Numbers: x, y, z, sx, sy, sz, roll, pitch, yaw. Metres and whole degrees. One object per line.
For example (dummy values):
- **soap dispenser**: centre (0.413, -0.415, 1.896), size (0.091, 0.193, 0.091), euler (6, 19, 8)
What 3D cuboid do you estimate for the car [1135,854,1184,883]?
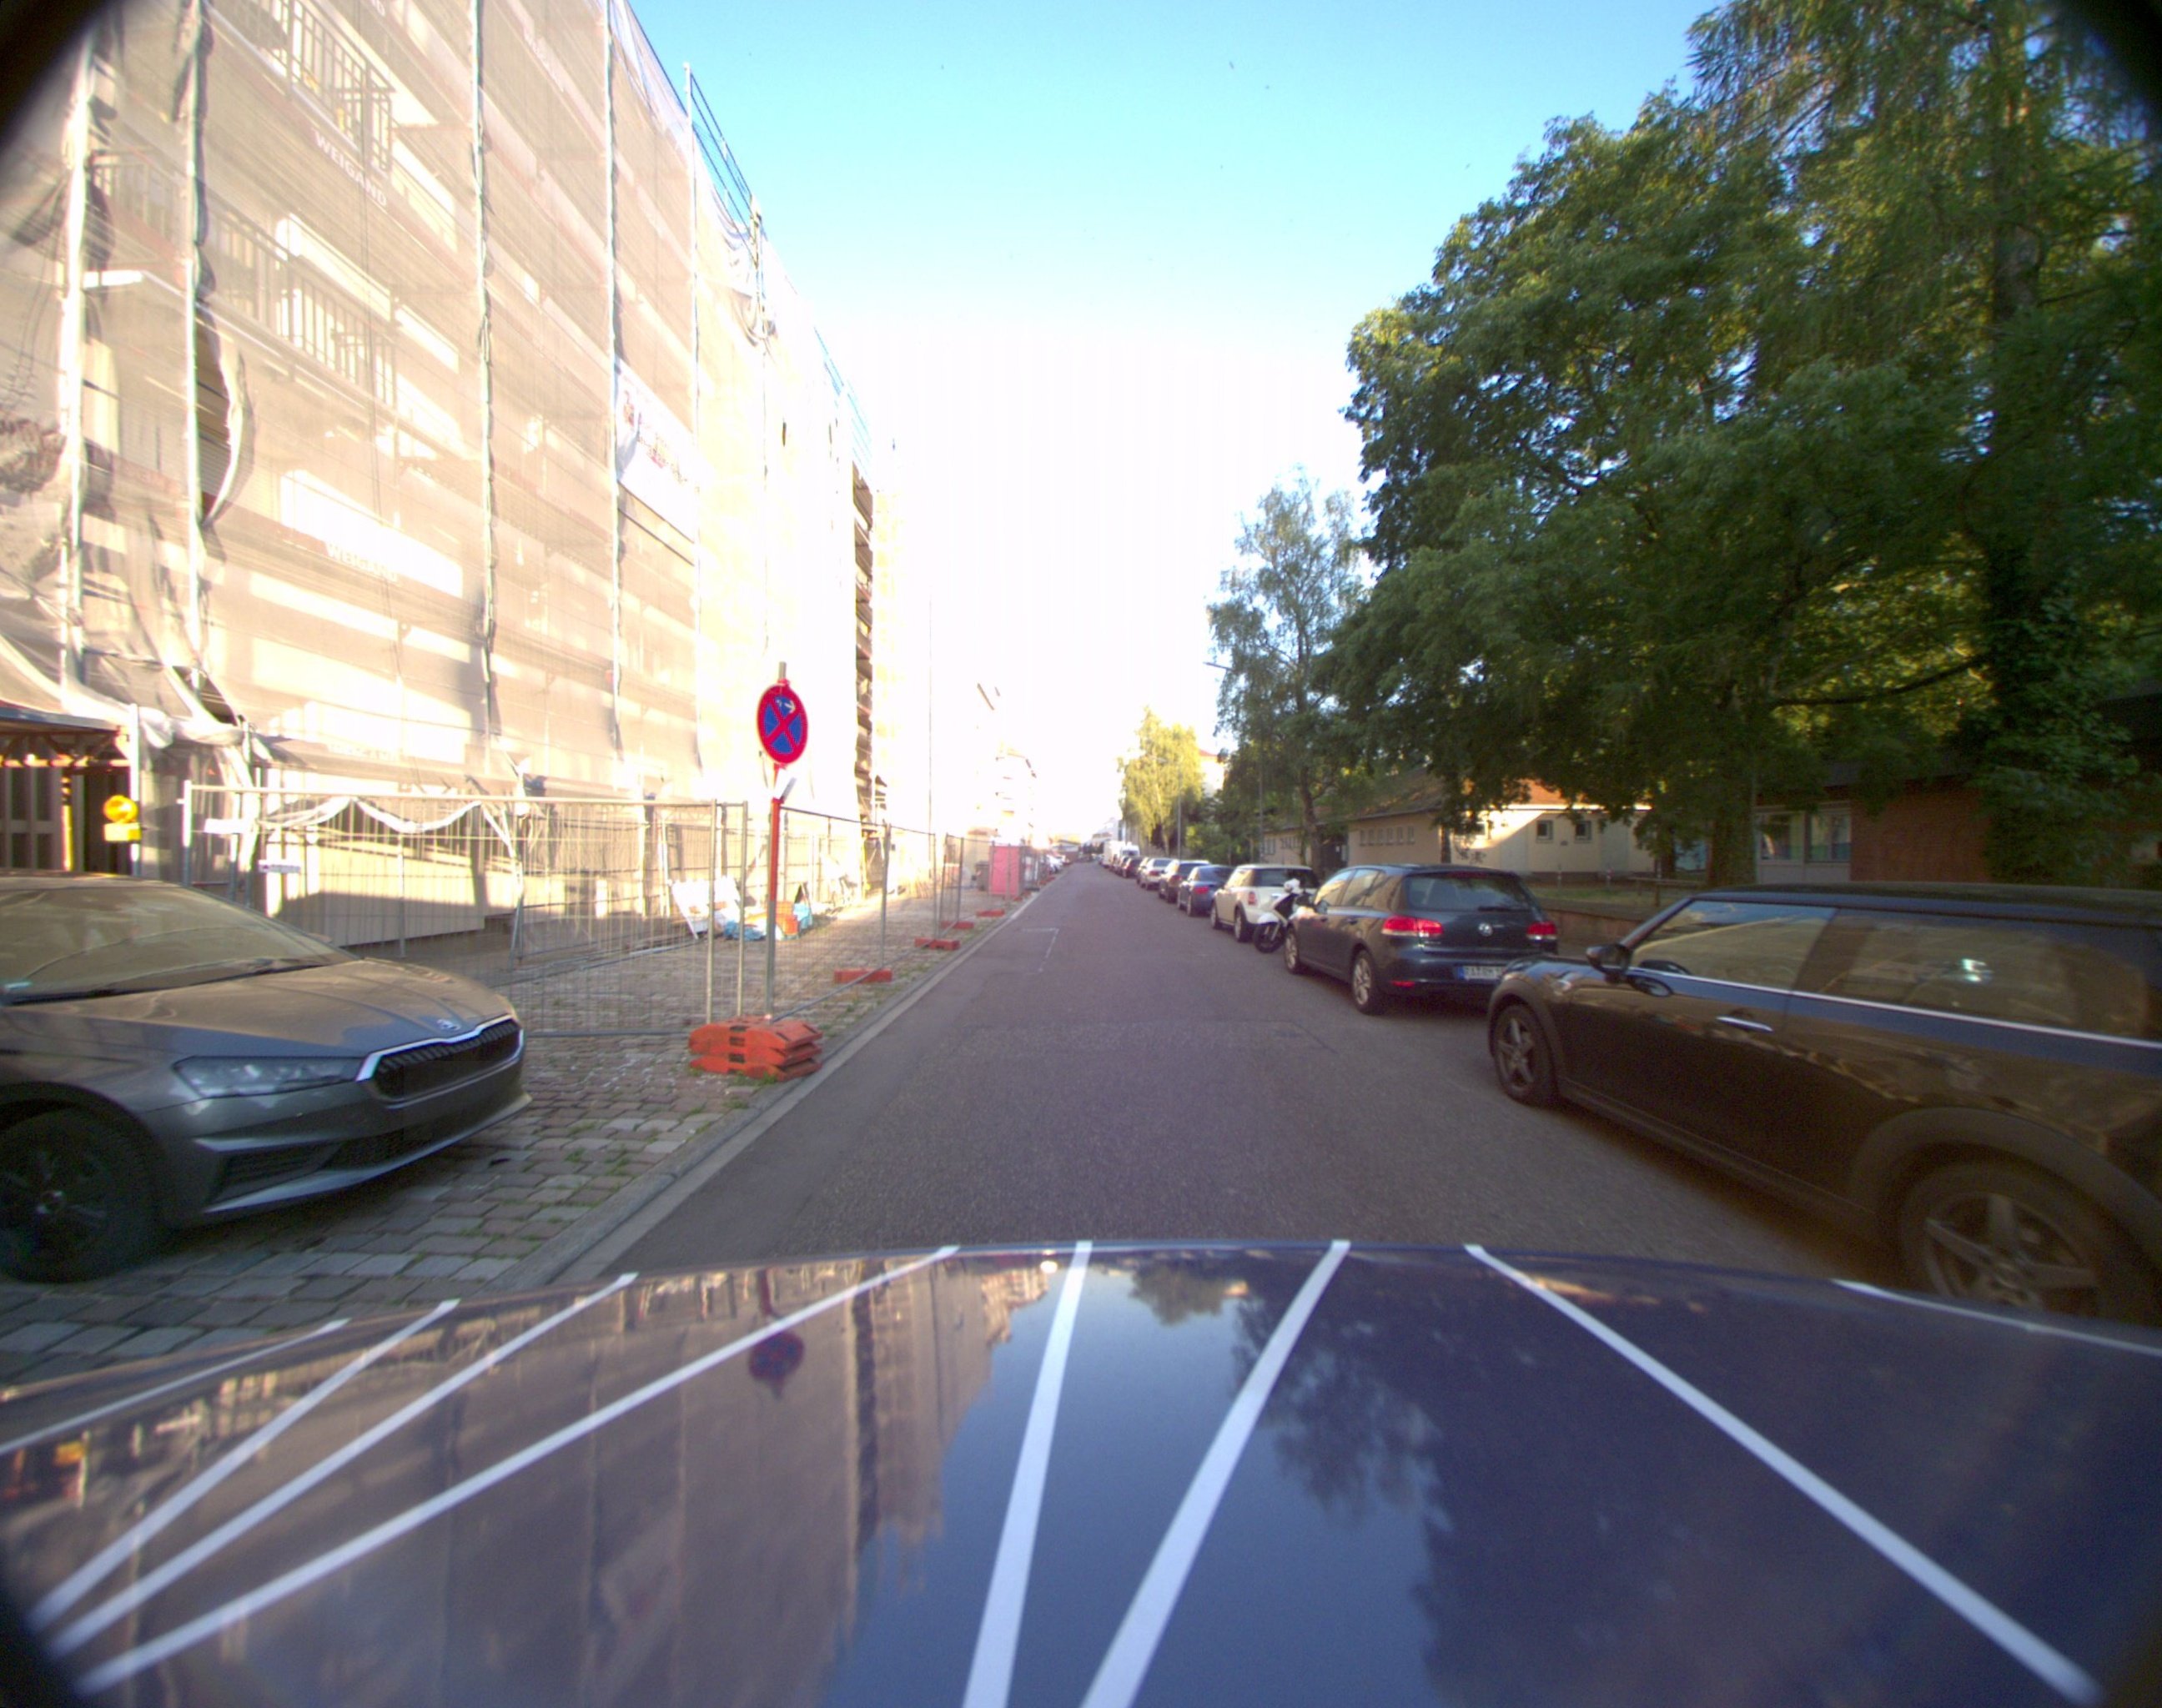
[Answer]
- **car**: centre (4.056, 0.715, 40.108), size (1.999, 1.444, 3.999), euler (-1, 0, -3)

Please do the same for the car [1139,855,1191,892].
- **car**: centre (3.728, 0.822, 34.393), size (1.787, 1.437, 4.748), euler (2, 0, 0)

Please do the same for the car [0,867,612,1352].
- **car**: centre (-4.808, 0.882, 3.480), size (3.998, 1.507, 2.018), euler (2, 0, -4)

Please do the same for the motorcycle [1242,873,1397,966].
- **motorcycle**: centre (3.598, 0.976, 11.614), size (2.167, 1.296, 0.881), euler (-1, 1, 15)

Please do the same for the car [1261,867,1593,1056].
- **car**: centre (3.472, 0.958, 8.666), size (1.720, 1.487, 4.360), euler (1, 0, -1)

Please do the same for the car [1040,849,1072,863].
- **car**: centre (-3.798, 0.289, 115.730), size (4.685, 1.988, 2.000), euler (0, 0, 1)

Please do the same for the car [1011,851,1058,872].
- **car**: centre (-4.035, 0.661, 66.862), size (3.997, 1.718, 1.999), euler (0, 2, -1)

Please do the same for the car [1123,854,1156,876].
- **car**: centre (3.975, 0.723, 51.974), size (1.998, 1.444, 4.288), euler (-1, 0, 1)

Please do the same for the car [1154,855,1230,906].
- **car**: centre (3.693, 0.832, 26.119), size (1.864, 1.529, 4.758), euler (1, 0, 0)

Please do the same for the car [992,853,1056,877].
- **car**: centre (-3.865, 0.724, 52.241), size (4.163, 1.606, 1.872), euler (0, 0, 2)

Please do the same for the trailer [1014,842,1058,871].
- **trailer**: centre (-3.818, 0.199, 64.763), size (3.577, 2.323, 1.940), euler (2, 0, -3)

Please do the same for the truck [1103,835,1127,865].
- **truck**: centre (4.064, -0.454, 92.266), size (2.532, 3.334, 8.017), euler (2, 0, 0)

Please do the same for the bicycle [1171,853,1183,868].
- **bicycle**: centre (7.218, 0.489, 57.195), size (0.544, 1.111, 1.955), euler (-1, 0, -1)

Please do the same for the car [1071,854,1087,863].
- **car**: centre (-0.441, 0.817, 133.535), size (2.000, 1.481, 4.427), euler (-1, 0, -11)

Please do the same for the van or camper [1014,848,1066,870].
- **van or camper**: centre (-3.867, 0.451, 72.229), size (4.846, 2.084, 2.040), euler (0, 0, -1)

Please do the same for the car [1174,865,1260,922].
- **car**: centre (3.613, 1.002, 20.835), size (1.663, 1.306, 4.154), euler (1, 0, 1)

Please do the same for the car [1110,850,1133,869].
- **car**: centre (3.937, 0.484, 74.914), size (1.915, 1.777, 4.949), euler (1, 0, -1)

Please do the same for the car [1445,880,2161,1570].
- **car**: centre (3.417, 0.953, 3.468), size (1.641, 1.469, 3.992), euler (1, 0, 1)

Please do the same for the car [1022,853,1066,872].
- **car**: centre (-3.358, 0.761, 69.498), size (3.997, 1.630, 1.999), euler (0, 1, -1)

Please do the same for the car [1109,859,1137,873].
- **car**: centre (3.833, 1.064, 69.492), size (1.999, 1.182, 4.034), euler (-1, 0, -5)

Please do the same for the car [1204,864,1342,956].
- **car**: centre (3.555, 0.978, 14.738), size (1.605, 1.423, 3.803), euler (2, 0, -1)

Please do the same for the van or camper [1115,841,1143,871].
- **van or camper**: centre (4.009, 0.149, 64.173), size (1.998, 2.442, 6.083), euler (0, 0, 0)

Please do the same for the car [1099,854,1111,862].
- **car**: centre (4.311, 0.709, 136.132), size (1.999, 1.481, 4.431), euler (-1, 0, -1)

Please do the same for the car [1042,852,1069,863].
- **car**: centre (-3.790, 0.483, 112.823), size (3.998, 1.619, 1.784), euler (0, 0, -2)

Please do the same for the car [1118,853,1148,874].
- **car**: centre (3.956, 0.665, 58.414), size (1.998, 1.510, 4.789), euler (-1, 0, 1)

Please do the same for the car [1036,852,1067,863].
- **car**: centre (-4.186, 0.521, 107.794), size (4.311, 1.532, 1.923), euler (0, 0, 1)
